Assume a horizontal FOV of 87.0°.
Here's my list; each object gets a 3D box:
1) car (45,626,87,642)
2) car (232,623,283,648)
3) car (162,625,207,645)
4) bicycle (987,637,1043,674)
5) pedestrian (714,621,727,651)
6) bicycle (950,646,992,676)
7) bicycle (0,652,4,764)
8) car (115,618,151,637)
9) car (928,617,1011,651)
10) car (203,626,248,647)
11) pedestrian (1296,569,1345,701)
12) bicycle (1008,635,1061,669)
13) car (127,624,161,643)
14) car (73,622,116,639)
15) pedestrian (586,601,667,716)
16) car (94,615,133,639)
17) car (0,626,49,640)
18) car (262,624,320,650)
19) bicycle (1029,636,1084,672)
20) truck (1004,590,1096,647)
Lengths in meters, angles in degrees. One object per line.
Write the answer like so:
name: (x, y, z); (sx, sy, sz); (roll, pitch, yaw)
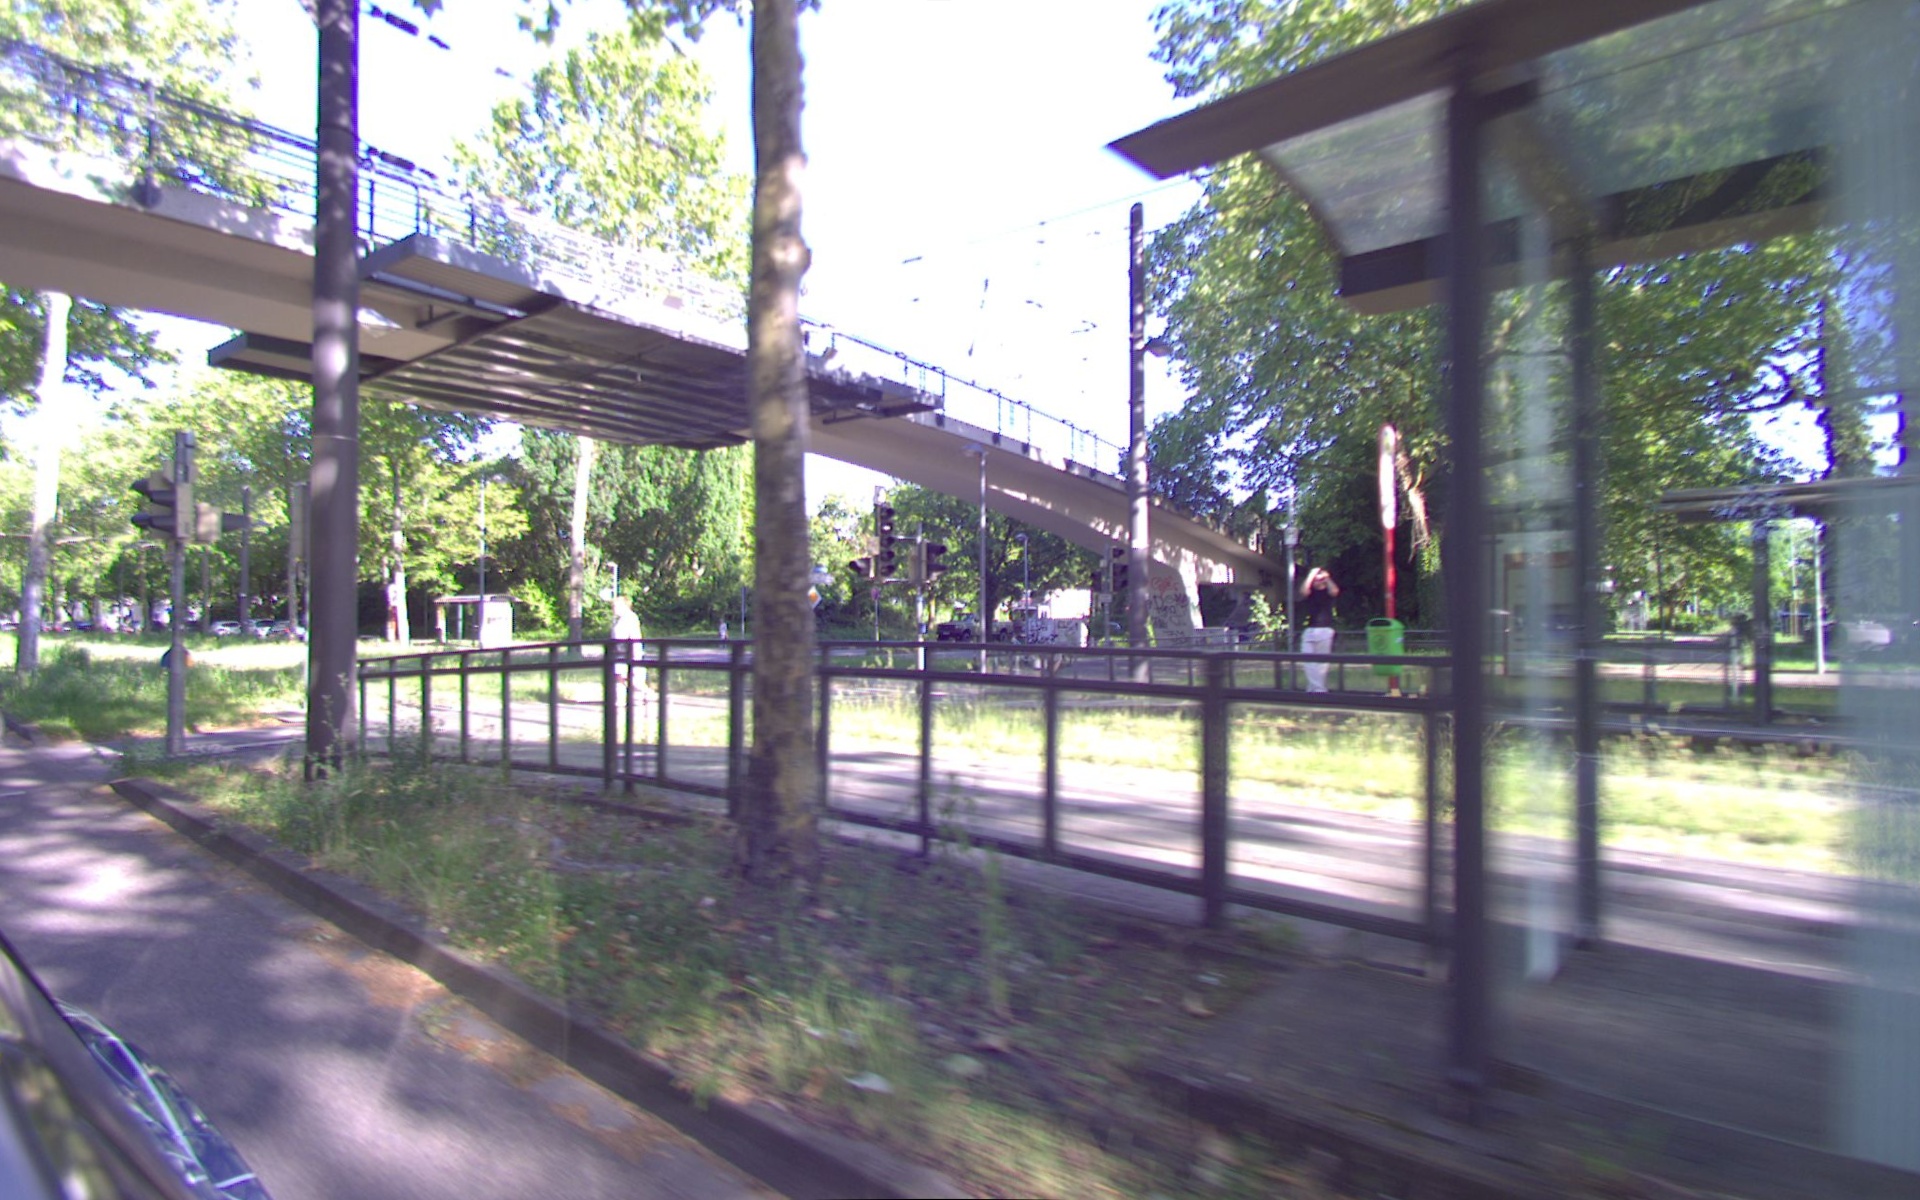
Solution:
car: (-96.983, 3.675, 109.848); (1.857, 1.579, 4.011); (-1, 0, -15)
car: (-48.952, 2.438, 70.487); (4.186, 1.608, 1.797); (-1, 2, 40)
car: (-62.472, 2.797, 81.493); (4.173, 1.499, 1.821); (-1, 2, 38)
bicycle: (1.573, 1.593, 29.259); (1.685, 1.016, 0.429); (-2, -1, 41)
pedestrian: (-12.321, 1.867, 52.141); (0.526, 1.502, 0.589); (0, 0, -24)
bicycle: (0.310, 1.709, 28.521); (1.173, 0.784, 0.429); (-2, -1, 41)
bicycle: (-10.804, 1.128, 10.077); (0.814, 1.155, 1.812); (-2, -1, 41)
car: (-74.642, 2.466, 91.338); (3.814, 1.507, 1.733); (0, 2, 40)
car: (0.683, 2.080, 63.297); (2.220, 1.963, 6.081); (-1, -1, 35)
car: (-54.545, 2.687, 75.134); (4.020, 1.429, 1.702); (-1, 2, 40)
pedestrian: (4.945, 0.472, 13.901); (0.477, 1.784, 0.503); (-1, 0, 1)
bicycle: (2.270, 1.586, 31.079); (1.685, 1.016, 0.429); (-2, -1, 41)
car: (-70.711, 2.916, 87.686); (3.566, 1.499, 1.526); (-1, 2, 40)
car: (-90.470, 3.173, 105.837); (1.857, 1.579, 4.011); (-1, 0, -15)
pedestrian: (-5.111, 0.865, 15.514); (1.047, 1.687, 0.718); (-1, 0, 38)
car: (-79.994, 2.559, 95.660); (4.273, 2.072, 1.963); (-1, 2, 39)
car: (-120.038, 4.203, 129.828); (1.878, 1.722, 4.489); (-1, 0, 8)
car: (-43.857, 2.375, 66.308); (4.624, 1.499, 1.879); (-1, 2, 40)
bicycle: (2.859, 1.581, 30.024); (1.685, 1.016, 0.429); (-2, -1, 41)
truck: (6.496, 1.320, 71.560); (2.740, 3.779, 8.417); (-1, -1, 34)
